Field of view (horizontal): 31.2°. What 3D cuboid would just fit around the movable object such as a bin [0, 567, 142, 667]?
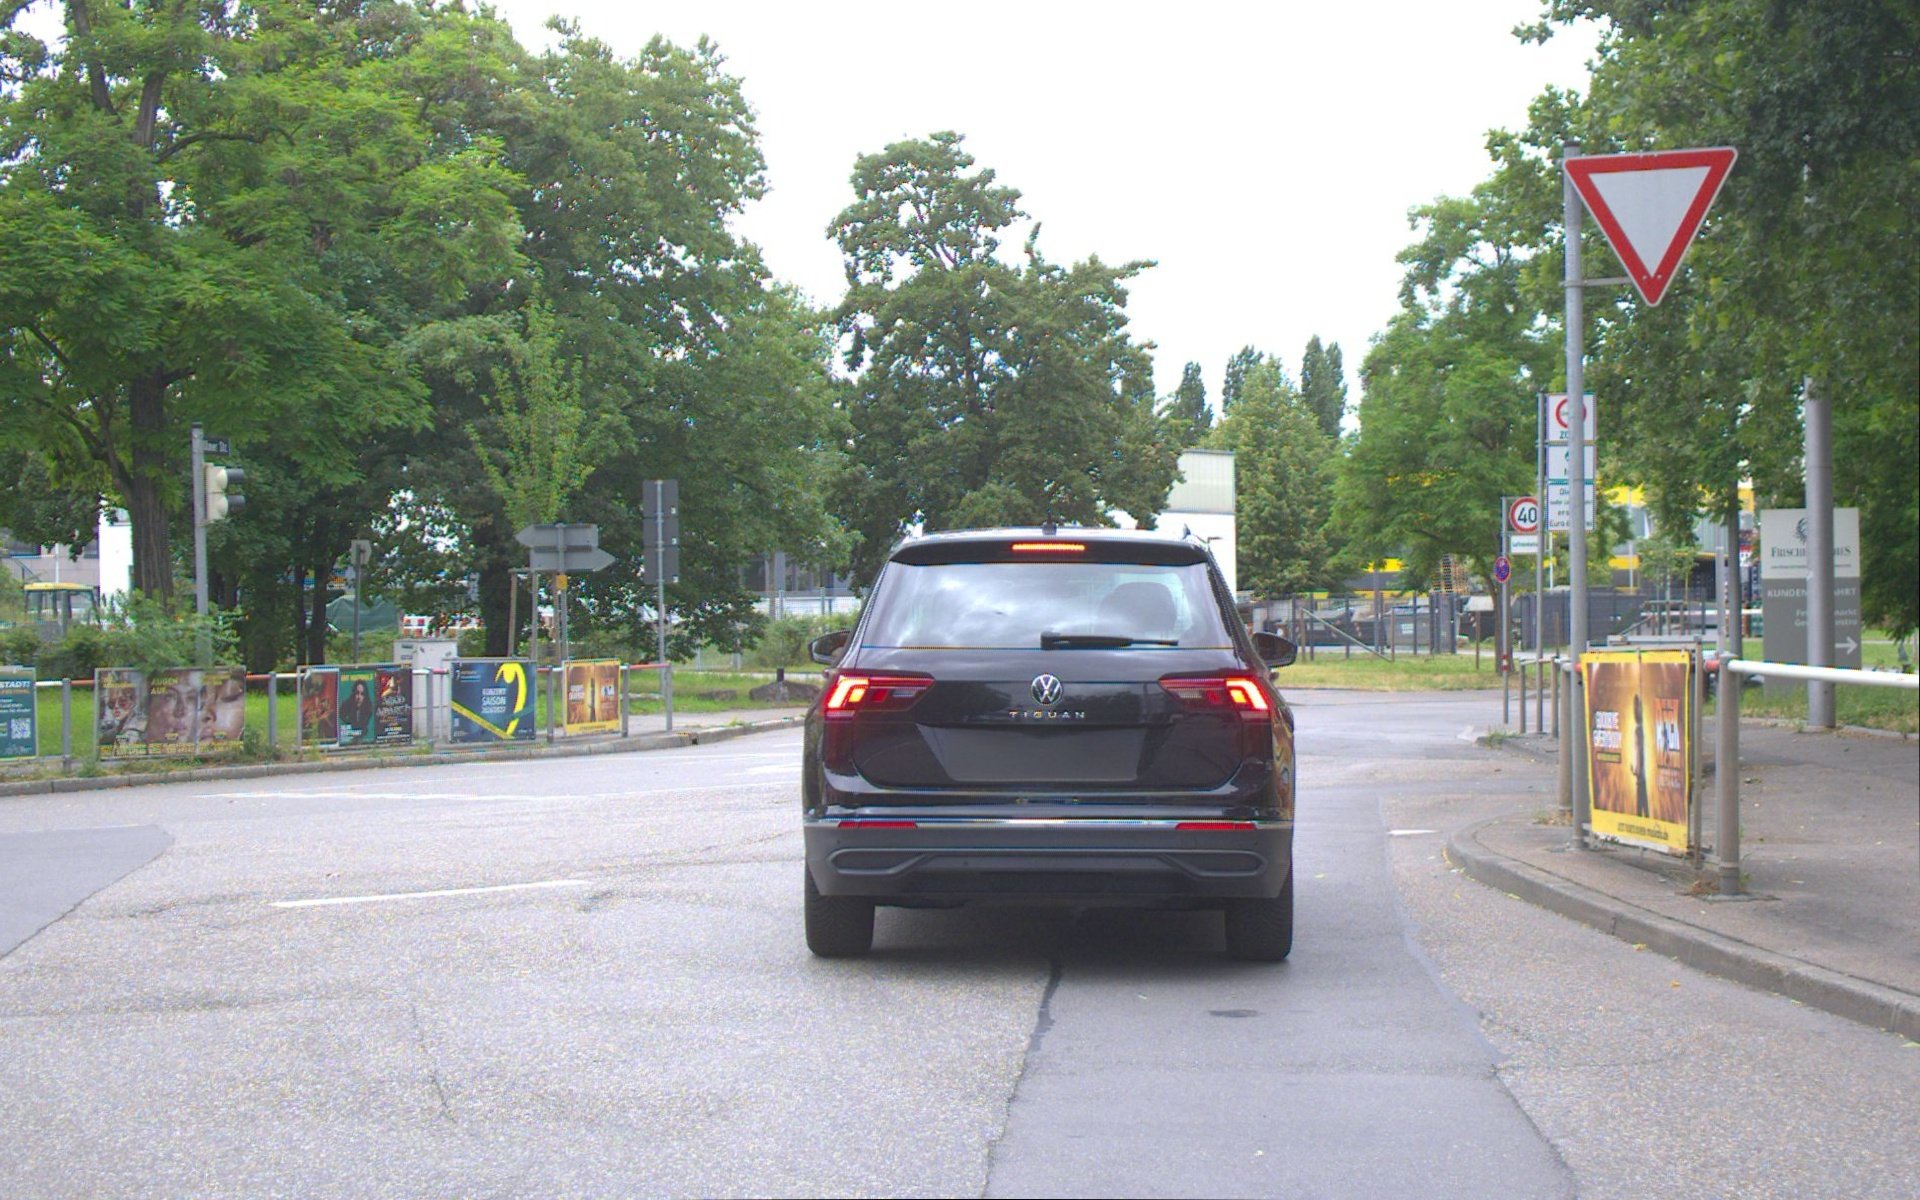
[{"bbox_3d":[-18.629,0.340,71.623,1.996,2.007,2.396,-1,0,26],"label":"movable object such as a bin"}]

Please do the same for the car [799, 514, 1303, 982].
[{"bbox_3d":[0.332,0.516,13.708,1.739,1.612,3.641,0,0,1],"label":"car"}]

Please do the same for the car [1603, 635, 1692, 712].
[{"bbox_3d":[15.103,1.595,75.418,1.660,1.569,3.826,-2,0,14],"label":"car"}]
